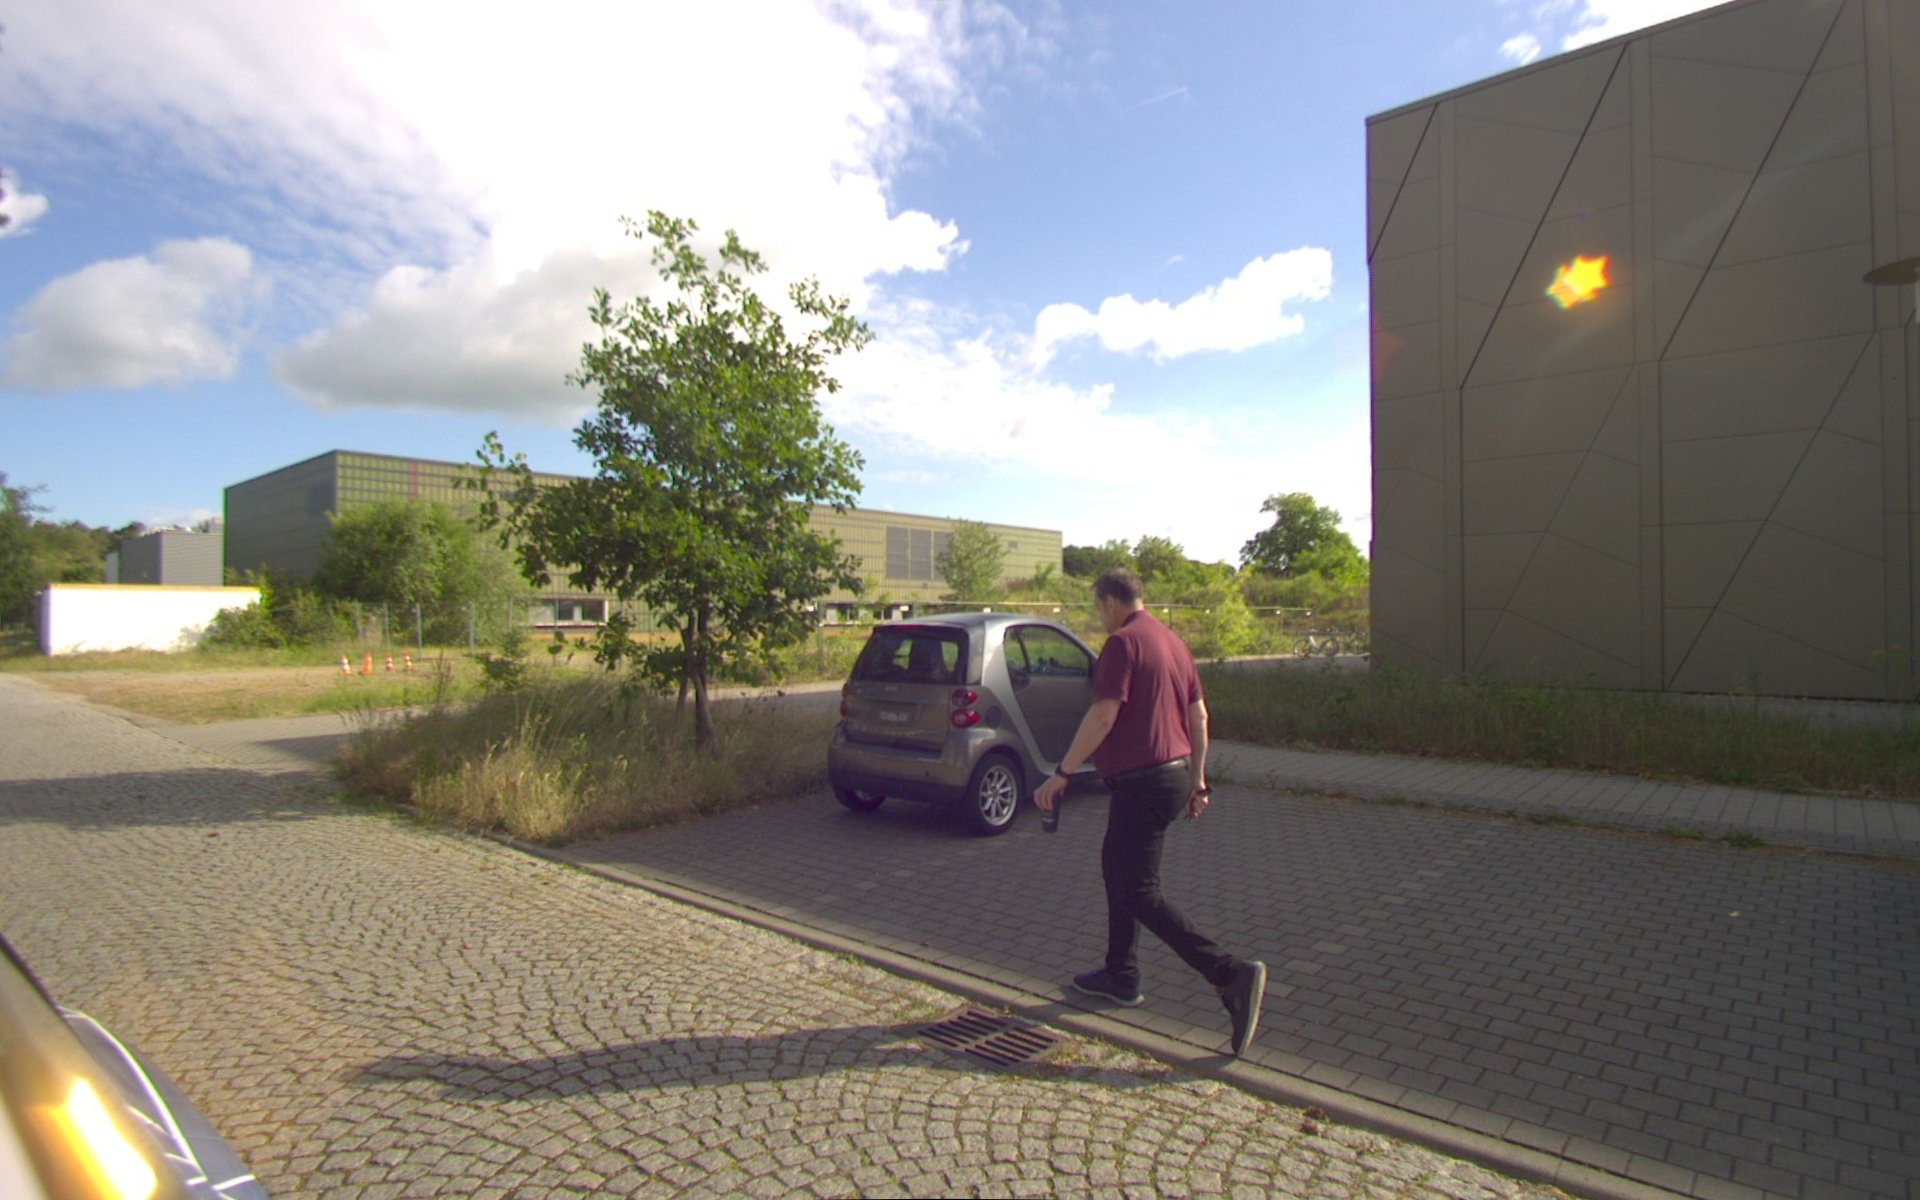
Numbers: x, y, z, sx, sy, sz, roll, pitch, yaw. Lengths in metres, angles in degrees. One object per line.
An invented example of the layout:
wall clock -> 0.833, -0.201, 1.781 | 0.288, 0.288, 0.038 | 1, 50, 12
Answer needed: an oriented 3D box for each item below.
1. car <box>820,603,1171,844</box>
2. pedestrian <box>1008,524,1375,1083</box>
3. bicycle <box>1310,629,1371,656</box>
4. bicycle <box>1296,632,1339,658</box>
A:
car -> 0.383, 0.840, 8.262 | 1.518, 1.554, 2.671 | -1, 0, 40
pedestrian -> 0.887, 0.665, 3.923 | 1.151, 1.785, 0.796 | -1, -2, 38
bicycle -> 14.385, 1.618, 38.286 | 1.968, 0.976, 0.830 | -5, -4, 45
bicycle -> 12.939, 1.623, 36.648 | 1.358, 0.906, 0.511 | -4, -4, 45
